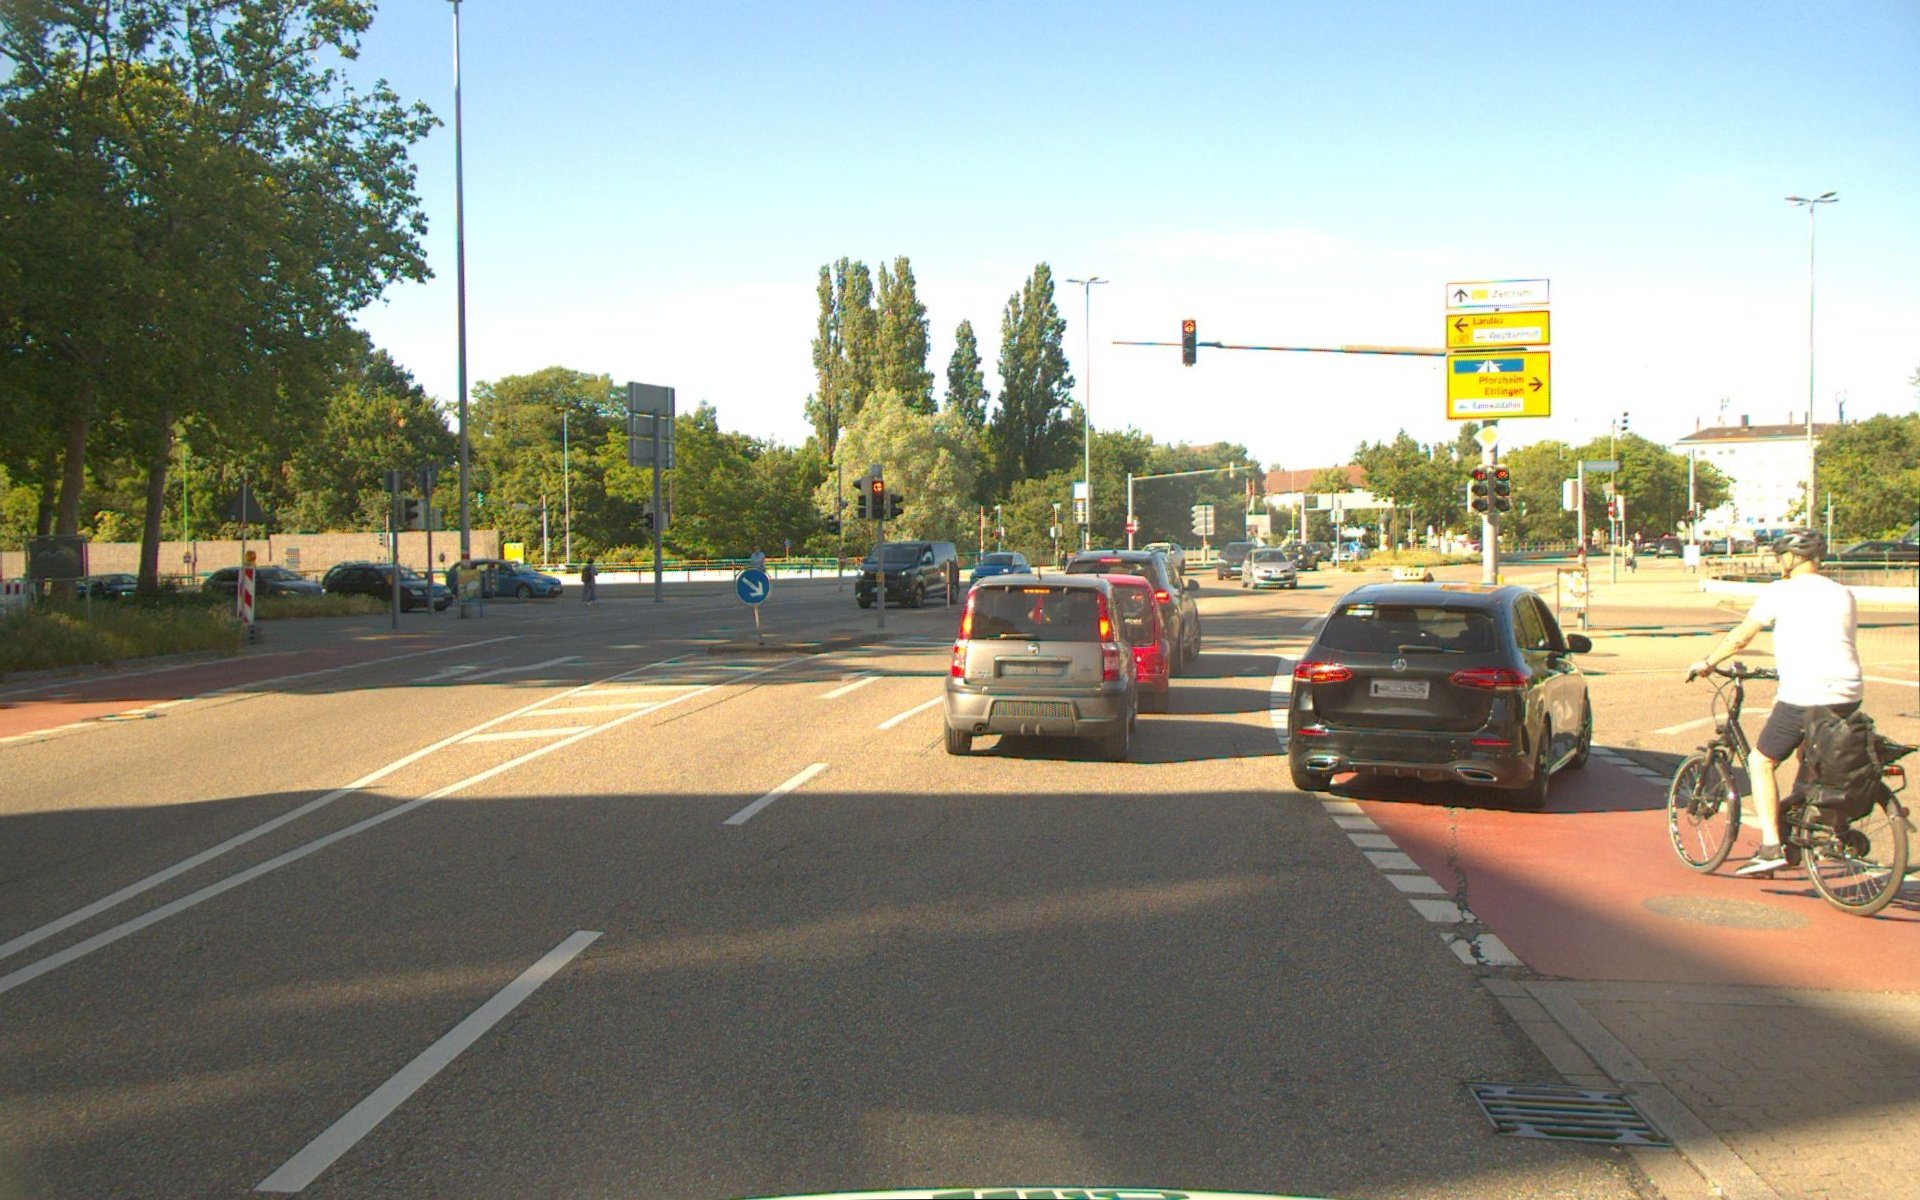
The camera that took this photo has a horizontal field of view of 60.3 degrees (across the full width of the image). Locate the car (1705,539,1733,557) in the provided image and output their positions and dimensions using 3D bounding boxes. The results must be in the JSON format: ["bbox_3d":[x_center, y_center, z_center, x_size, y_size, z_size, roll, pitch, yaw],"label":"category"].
[{"bbox_3d":[73.732,-5.027,160.693,1.957,1.668,3.991,-1,1,32],"label":"car"}]

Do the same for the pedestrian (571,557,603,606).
[{"bbox_3d":[-12.125,-0.589,53.775,0.672,1.565,1.366,0,-1,2],"label":"pedestrian"}]

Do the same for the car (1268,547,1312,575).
[{"bbox_3d":[17.913,-2.138,89.645,1.951,1.478,4.003,-1,2,17],"label":"car"}]

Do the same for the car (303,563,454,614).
[{"bbox_3d":[-17.767,-0.346,50.516,4.349,1.463,1.825,0,2,26],"label":"car"}]

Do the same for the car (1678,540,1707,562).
[{"bbox_3d":[63.337,-4.231,143.034,1.956,1.825,3.994,-1,1,29],"label":"car"}]

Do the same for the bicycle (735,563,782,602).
[{"bbox_3d":[-6.513,-0.574,53.558,0.672,1.223,2.329,0,2,15],"label":"bicycle"}]

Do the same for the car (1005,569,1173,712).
[{"bbox_3d":[1.603,0.393,19.609,1.781,1.505,4.003,0,1,7],"label":"car"}]

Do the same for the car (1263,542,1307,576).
[{"bbox_3d":[15.794,-2.001,80.227,1.687,1.610,4.007,0,2,17],"label":"car"}]

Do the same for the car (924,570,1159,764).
[{"bbox_3d":[0.887,0.498,15.332,1.781,1.515,4.004,0,1,9],"label":"car"}]

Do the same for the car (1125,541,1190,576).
[{"bbox_3d":[10.121,-2.137,84.513,1.798,1.682,4.623,0,2,28],"label":"car"}]

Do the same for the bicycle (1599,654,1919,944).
[{"bbox_3d":[4.144,0.902,8.340,0.783,1.130,2.400,1,1,-3],"label":"bicycle"}]

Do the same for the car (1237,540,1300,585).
[{"bbox_3d":[11.644,-1.422,62.693,1.782,1.610,4.106,-1,2,2],"label":"car"}]

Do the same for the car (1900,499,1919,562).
[{"bbox_3d":[43.896,-3.072,71.894,2.237,2.653,4.823,1,-1,-36],"label":"car"}]

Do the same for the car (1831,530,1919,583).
[{"bbox_3d":[37.825,-1.754,67.223,3.929,2.049,1.988,0,-1,42],"label":"car"}]

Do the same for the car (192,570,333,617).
[{"bbox_3d":[-22.892,-0.202,54.281,4.349,1.463,1.825,0,2,26],"label":"car"}]

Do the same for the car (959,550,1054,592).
[{"bbox_3d":[1.835,-1.139,64.127,1.786,1.529,4.443,0,2,30],"label":"car"}]

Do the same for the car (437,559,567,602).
[{"bbox_3d":[-16.716,-0.715,60.404,4.346,1.463,1.826,-1,2,22],"label":"car"}]

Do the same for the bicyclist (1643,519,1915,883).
[{"bbox_3d":[4.141,0.478,8.449,0.783,1.734,1.084,1,1,-4],"label":"bicyclist"}]

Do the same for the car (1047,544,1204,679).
[{"bbox_3d":[2.596,0.086,25.010,1.829,1.821,4.418,1,2,13],"label":"car"}]

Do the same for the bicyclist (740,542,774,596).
[{"bbox_3d":[-6.544,-1.016,53.456,0.672,1.730,1.199,0,2,15],"label":"bicyclist"}]

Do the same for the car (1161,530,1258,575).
[{"bbox_3d":[11.376,-2.141,75.640,1.978,1.868,4.303,1,-1,-37],"label":"car"}]

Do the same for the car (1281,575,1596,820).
[{"bbox_3d":[3.834,0.594,12.781,1.716,1.519,3.997,2,2,25],"label":"car"}]

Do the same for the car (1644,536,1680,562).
[{"bbox_3d":[53.676,-3.883,126.409,1.958,1.825,3.989,0,-1,32],"label":"car"}]

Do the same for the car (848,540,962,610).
[{"bbox_3d":[-1.566,-0.780,49.074,1.951,1.969,4.856,0,2,16],"label":"car"}]
